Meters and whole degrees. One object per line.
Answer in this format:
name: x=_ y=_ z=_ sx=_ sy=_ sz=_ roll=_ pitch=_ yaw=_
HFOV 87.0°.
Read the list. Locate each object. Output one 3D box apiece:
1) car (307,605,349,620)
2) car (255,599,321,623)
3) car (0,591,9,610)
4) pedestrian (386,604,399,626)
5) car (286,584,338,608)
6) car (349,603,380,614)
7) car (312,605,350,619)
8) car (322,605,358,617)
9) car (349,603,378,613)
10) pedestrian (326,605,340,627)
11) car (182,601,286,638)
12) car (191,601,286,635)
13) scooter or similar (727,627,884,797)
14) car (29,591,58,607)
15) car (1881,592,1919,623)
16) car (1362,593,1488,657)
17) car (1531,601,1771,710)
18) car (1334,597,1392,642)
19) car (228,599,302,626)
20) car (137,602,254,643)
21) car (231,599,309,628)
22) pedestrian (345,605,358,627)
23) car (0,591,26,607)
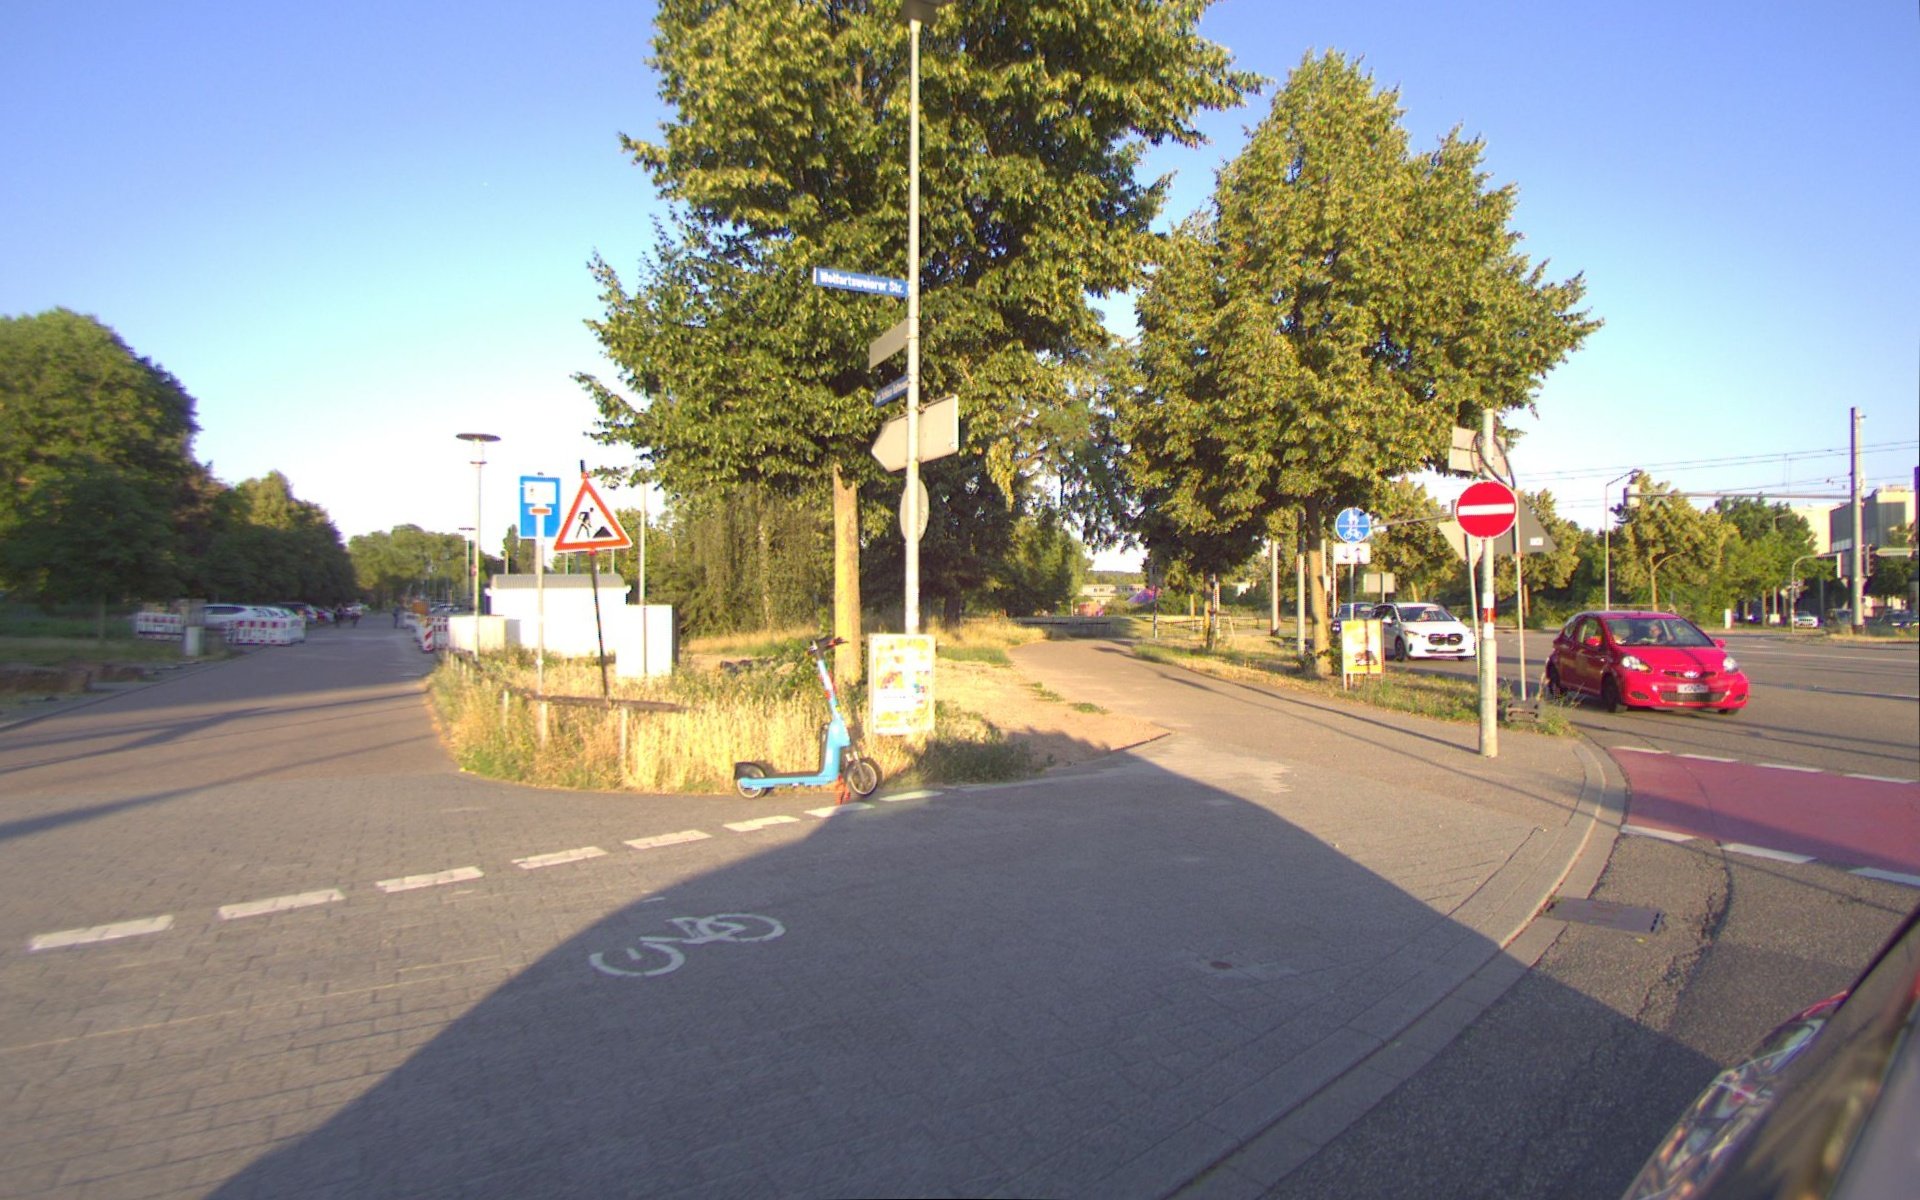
car: x=-72.924 y=1.395 z=116.889 sx=4.112 sy=1.629 sz=1.732 roll=0 pitch=0 yaw=-32
car: x=-51.024 y=0.817 z=76.888 sx=4.112 sy=1.781 sz=1.732 roll=0 pitch=0 yaw=-32
car: x=-82.695 y=0.022 z=86.327 sx=1.744 sy=1.584 sz=4.268 roll=0 pitch=0 yaw=-36
pedestrian: x=-41.147 y=1.077 z=73.392 sx=0.784 sy=1.547 sz=0.627 roll=0 pitch=-1 yaw=-33
car: x=-61.273 y=-0.377 z=95.809 sx=4.112 sy=2.146 sz=1.732 roll=0 pitch=0 yaw=-32
car: x=-92.478 y=1.328 z=157.276 sx=4.112 sy=1.629 sz=1.732 roll=0 pitch=0 yaw=-32
car: x=-81.023 y=1.529 z=130.355 sx=4.112 sy=1.629 sz=1.732 roll=0 pitch=0 yaw=-32
car: x=-83.968 y=1.475 z=137.117 sx=4.112 sy=1.629 sz=1.732 roll=0 pitch=0 yaw=-32
car: x=-99.006 y=1.262 z=167.959 sx=4.112 sy=1.629 sz=1.732 roll=0 pitch=0 yaw=-32
pedestrian: x=-44.146 y=1.113 z=71.252 sx=0.823 sy=1.547 sz=1.040 roll=0 pitch=-1 yaw=-31
car: x=-36.608 y=0.958 z=51.162 sx=4.112 sy=1.781 sz=1.732 roll=0 pitch=0 yaw=-32
car: x=-39.497 y=0.935 z=55.494 sx=4.112 sy=1.781 sz=1.732 roll=0 pitch=0 yaw=-32
scooter or similar: x=-1.176 y=0.850 z=7.701 sx=1.144 sy=1.252 sz=0.196 roll=-1 pitch=-1 yaw=6
car: x=-94.468 y=-0.087 z=104.315 sx=1.744 sy=1.584 sz=4.268 roll=0 pitch=0 yaw=-36
car: x=40.913 y=0.299 z=43.222 sx=1.608 sy=1.266 sz=3.770 roll=-1 pitch=0 yaw=32
car: x=12.673 y=0.646 z=27.900 sx=1.760 sy=1.577 sz=4.402 roll=-1 pitch=0 yaw=6
car: x=10.465 y=0.759 z=15.744 sx=1.596 sy=1.431 sz=4.391 roll=-1 pitch=0 yaw=14
car: x=15.239 y=0.706 z=38.434 sx=1.768 sy=1.577 sz=4.382 roll=-1 pitch=0 yaw=19
car: x=-48.246 y=0.834 z=70.366 sx=4.112 sy=1.781 sz=1.732 roll=0 pitch=0 yaw=-32
car: x=-34.706 y=1.003 z=46.080 sx=4.112 sy=1.781 sz=1.732 roll=0 pitch=0 yaw=-32
car: x=-44.852 y=0.861 z=65.916 sx=4.112 sy=1.781 sz=1.732 roll=0 pitch=0 yaw=-32
pedestrian: x=-43.286 y=1.101 z=71.978 sx=0.823 sy=1.547 sz=1.040 roll=0 pitch=-1 yaw=-31
car: x=-96.346 y=-0.062 z=102.717 sx=1.744 sy=1.584 sz=4.268 roll=0 pitch=0 yaw=-36
